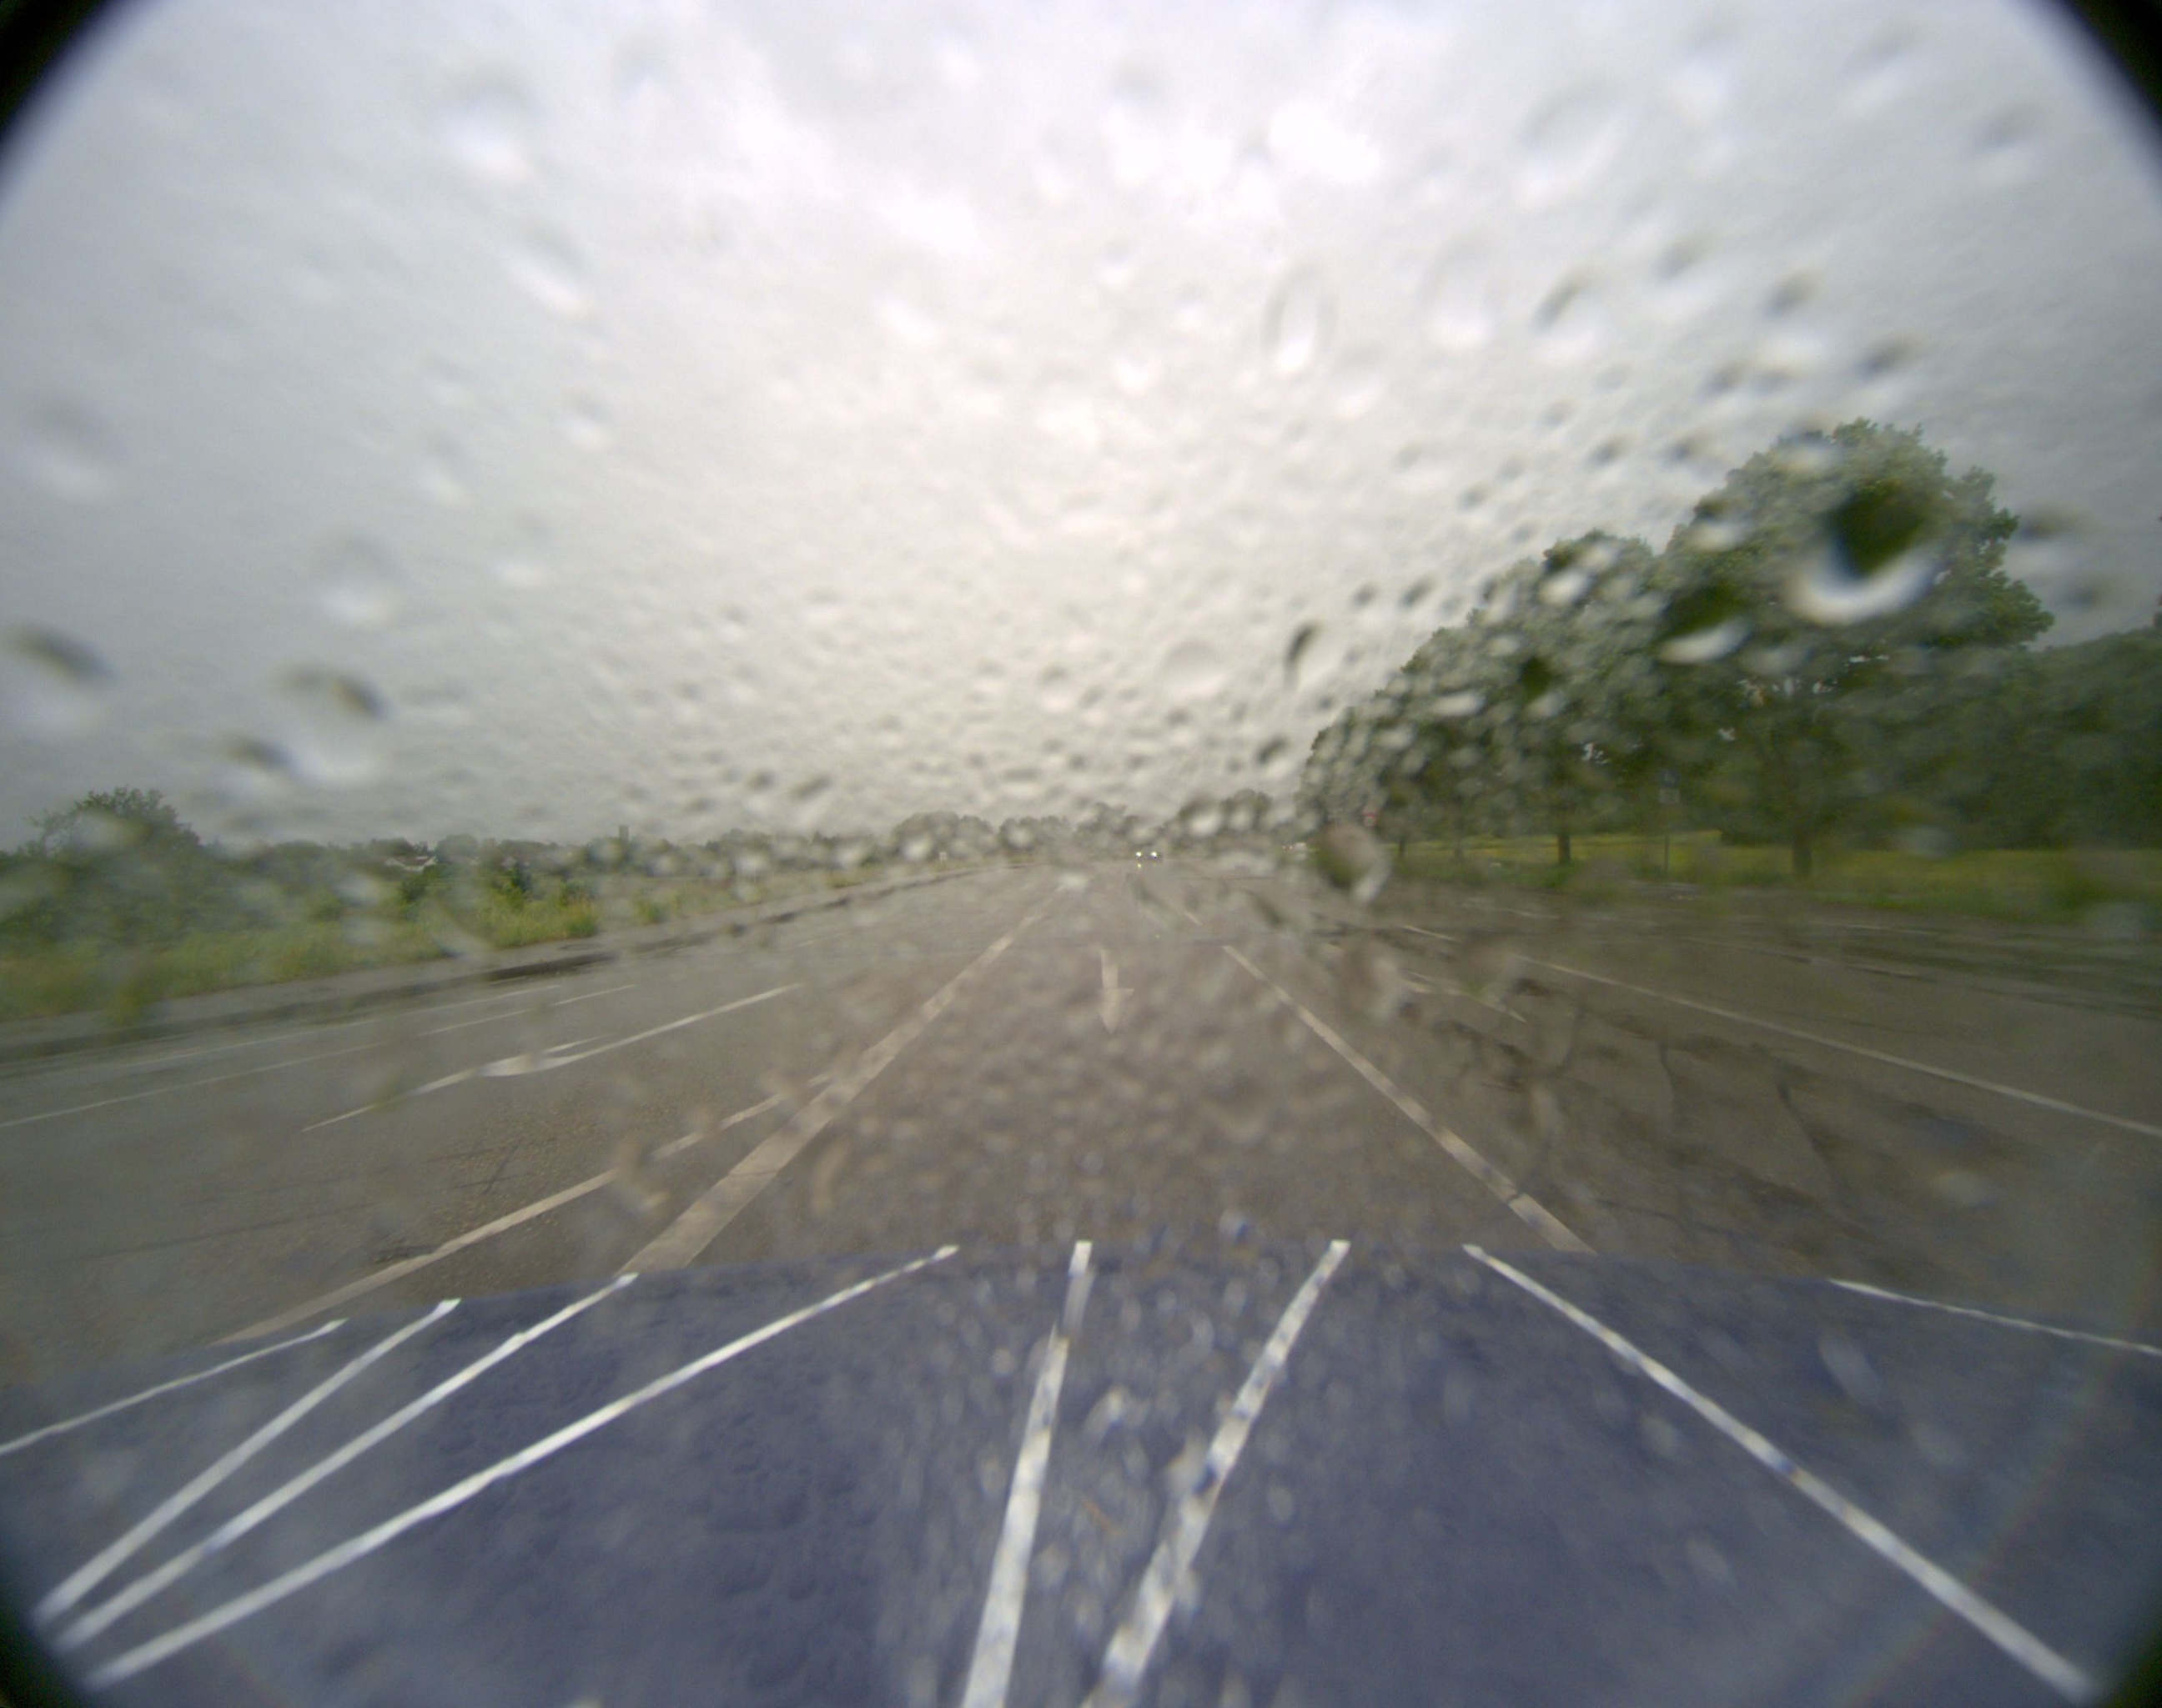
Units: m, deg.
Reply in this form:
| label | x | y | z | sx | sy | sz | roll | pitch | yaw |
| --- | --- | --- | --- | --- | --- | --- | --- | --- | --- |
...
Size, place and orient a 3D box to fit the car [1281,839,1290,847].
| label | x | y | z | sx | sy | sz | roll | pitch | yaw |
| --- | --- | --- | --- | --- | --- | --- | --- | --- | --- |
| car | 46.716 | -2.614 | 173.506 | 1.913 | 1.678 | 4.108 | -1 | 1 | 19 |

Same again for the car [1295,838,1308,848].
| label | x | y | z | sx | sy | sz | roll | pitch | yaw |
| --- | --- | --- | --- | --- | --- | --- | --- | --- | --- |
| car | 45.317 | -2.254 | 156.127 | 2.108 | 1.882 | 4.797 | -1 | 1 | 23 |

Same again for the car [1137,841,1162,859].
| label | x | y | z | sx | sy | sz | roll | pitch | yaw |
| --- | --- | --- | --- | --- | --- | --- | --- | --- | --- |
| car | 6.454 | -0.421 | 71.207 | 1.914 | 1.576 | 4.105 | -1 | 1 | 11 |
